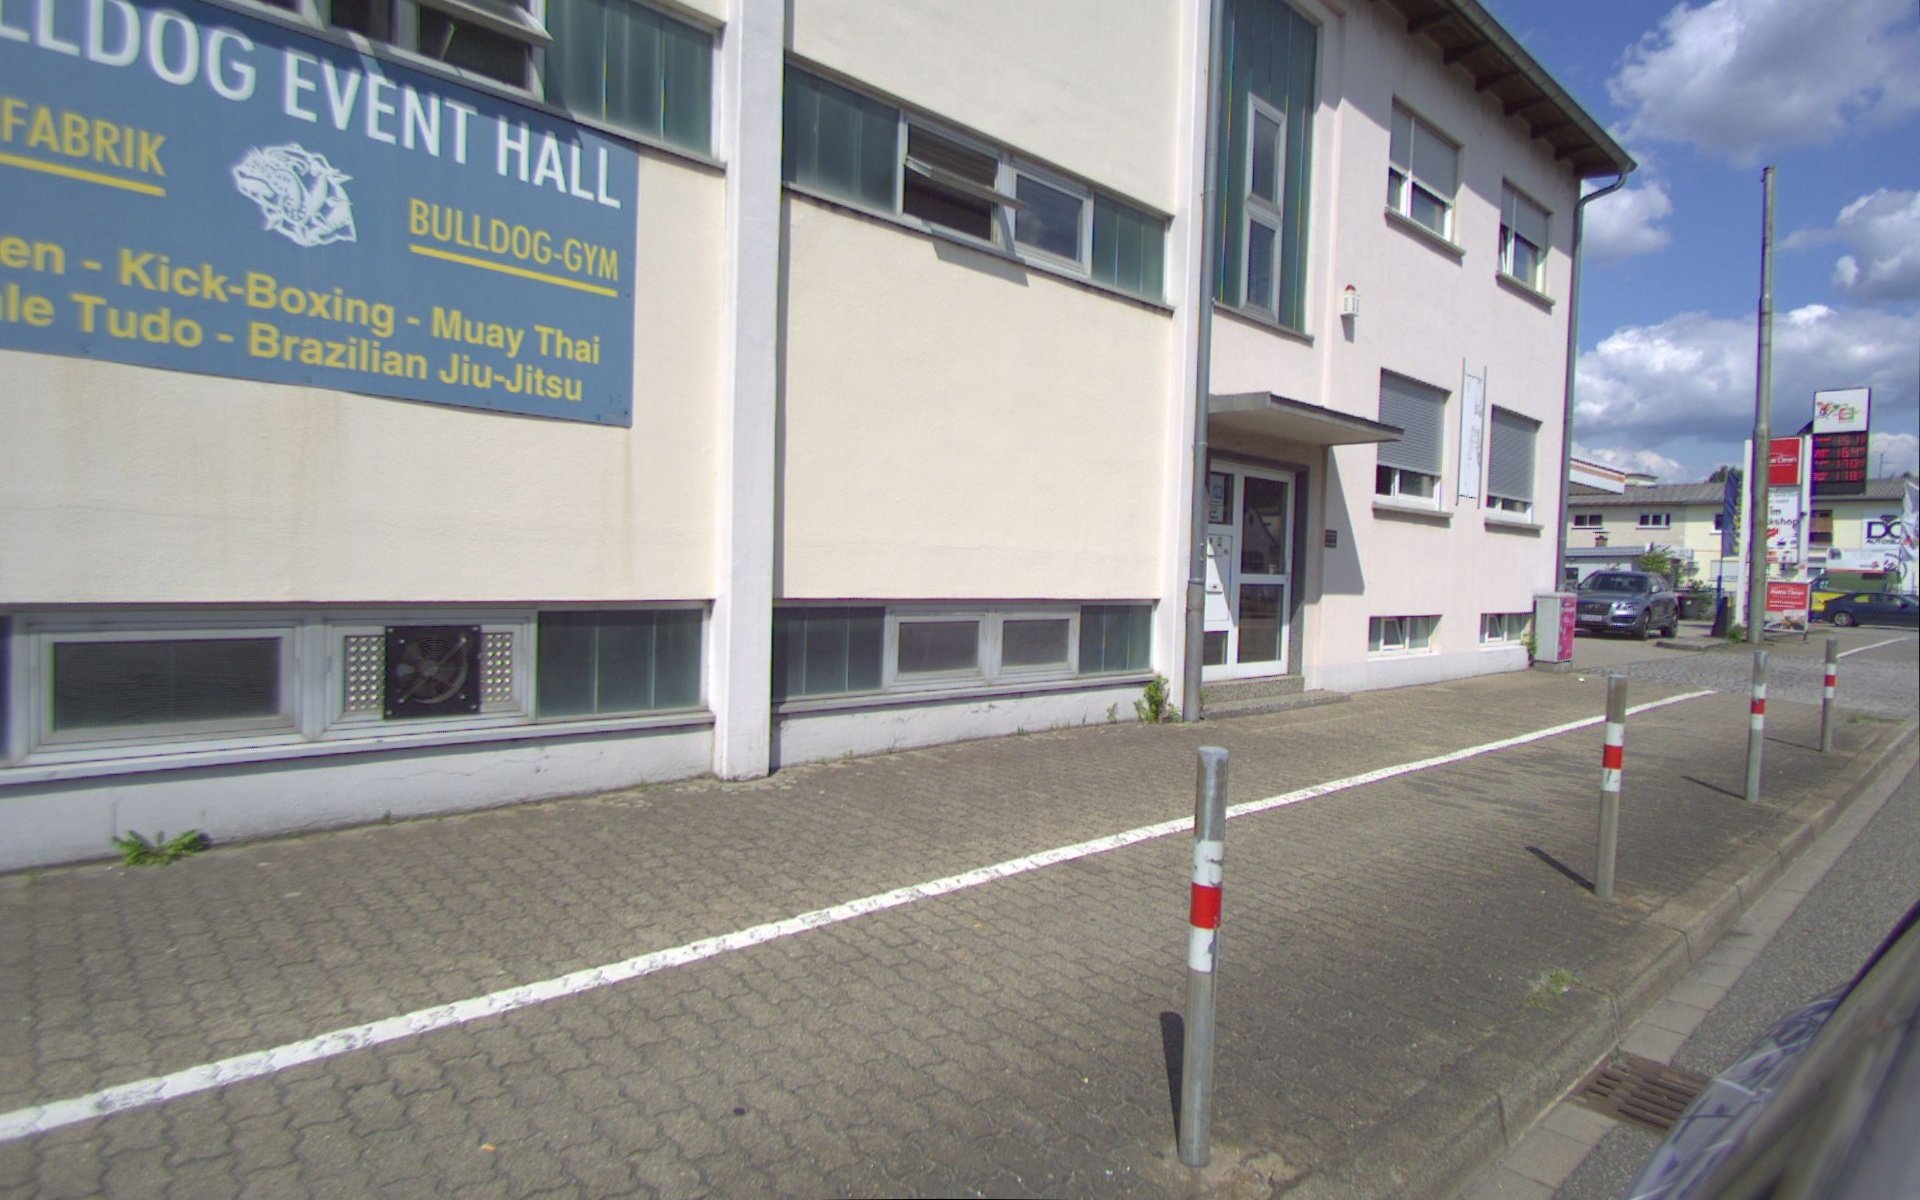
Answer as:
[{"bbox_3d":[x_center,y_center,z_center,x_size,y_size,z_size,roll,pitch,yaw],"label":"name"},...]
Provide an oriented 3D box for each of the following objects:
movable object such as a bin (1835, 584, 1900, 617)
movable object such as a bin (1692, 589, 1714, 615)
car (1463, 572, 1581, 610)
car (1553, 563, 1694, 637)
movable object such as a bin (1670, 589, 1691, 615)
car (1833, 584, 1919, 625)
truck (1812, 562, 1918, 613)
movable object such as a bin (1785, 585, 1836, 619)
[{"bbox_3d":[39.376,-0.013,43.910,1.679,1.364,1.965,-1,1,-42],"label":"movable object such as a bin"},{"bbox_3d":[29.944,0.070,40.792,0.695,1.023,0.581,-1,1,-43],"label":"movable object such as a bin"},{"bbox_3d":[24.430,-0.434,44.094,1.740,1.441,4.145,-1,4,-40],"label":"car"},{"bbox_3d":[16.743,-0.046,25.443,4.539,1.645,1.948,-1,3,-44],"label":"car"},{"bbox_3d":[29.434,0.066,41.323,0.695,1.023,0.581,-1,1,-43],"label":"movable object such as a bin"},{"bbox_3d":[35.649,0.172,37.986,1.616,1.425,4.067,-1,3,-35],"label":"car"},{"bbox_3d":[50.468,-0.716,56.489,2.071,2.693,4.179,-1,1,-40],"label":"truck"},{"bbox_3d":[37.818,0.063,45.013,1.735,1.427,1.534,-1,1,-42],"label":"movable object such as a bin"}]
